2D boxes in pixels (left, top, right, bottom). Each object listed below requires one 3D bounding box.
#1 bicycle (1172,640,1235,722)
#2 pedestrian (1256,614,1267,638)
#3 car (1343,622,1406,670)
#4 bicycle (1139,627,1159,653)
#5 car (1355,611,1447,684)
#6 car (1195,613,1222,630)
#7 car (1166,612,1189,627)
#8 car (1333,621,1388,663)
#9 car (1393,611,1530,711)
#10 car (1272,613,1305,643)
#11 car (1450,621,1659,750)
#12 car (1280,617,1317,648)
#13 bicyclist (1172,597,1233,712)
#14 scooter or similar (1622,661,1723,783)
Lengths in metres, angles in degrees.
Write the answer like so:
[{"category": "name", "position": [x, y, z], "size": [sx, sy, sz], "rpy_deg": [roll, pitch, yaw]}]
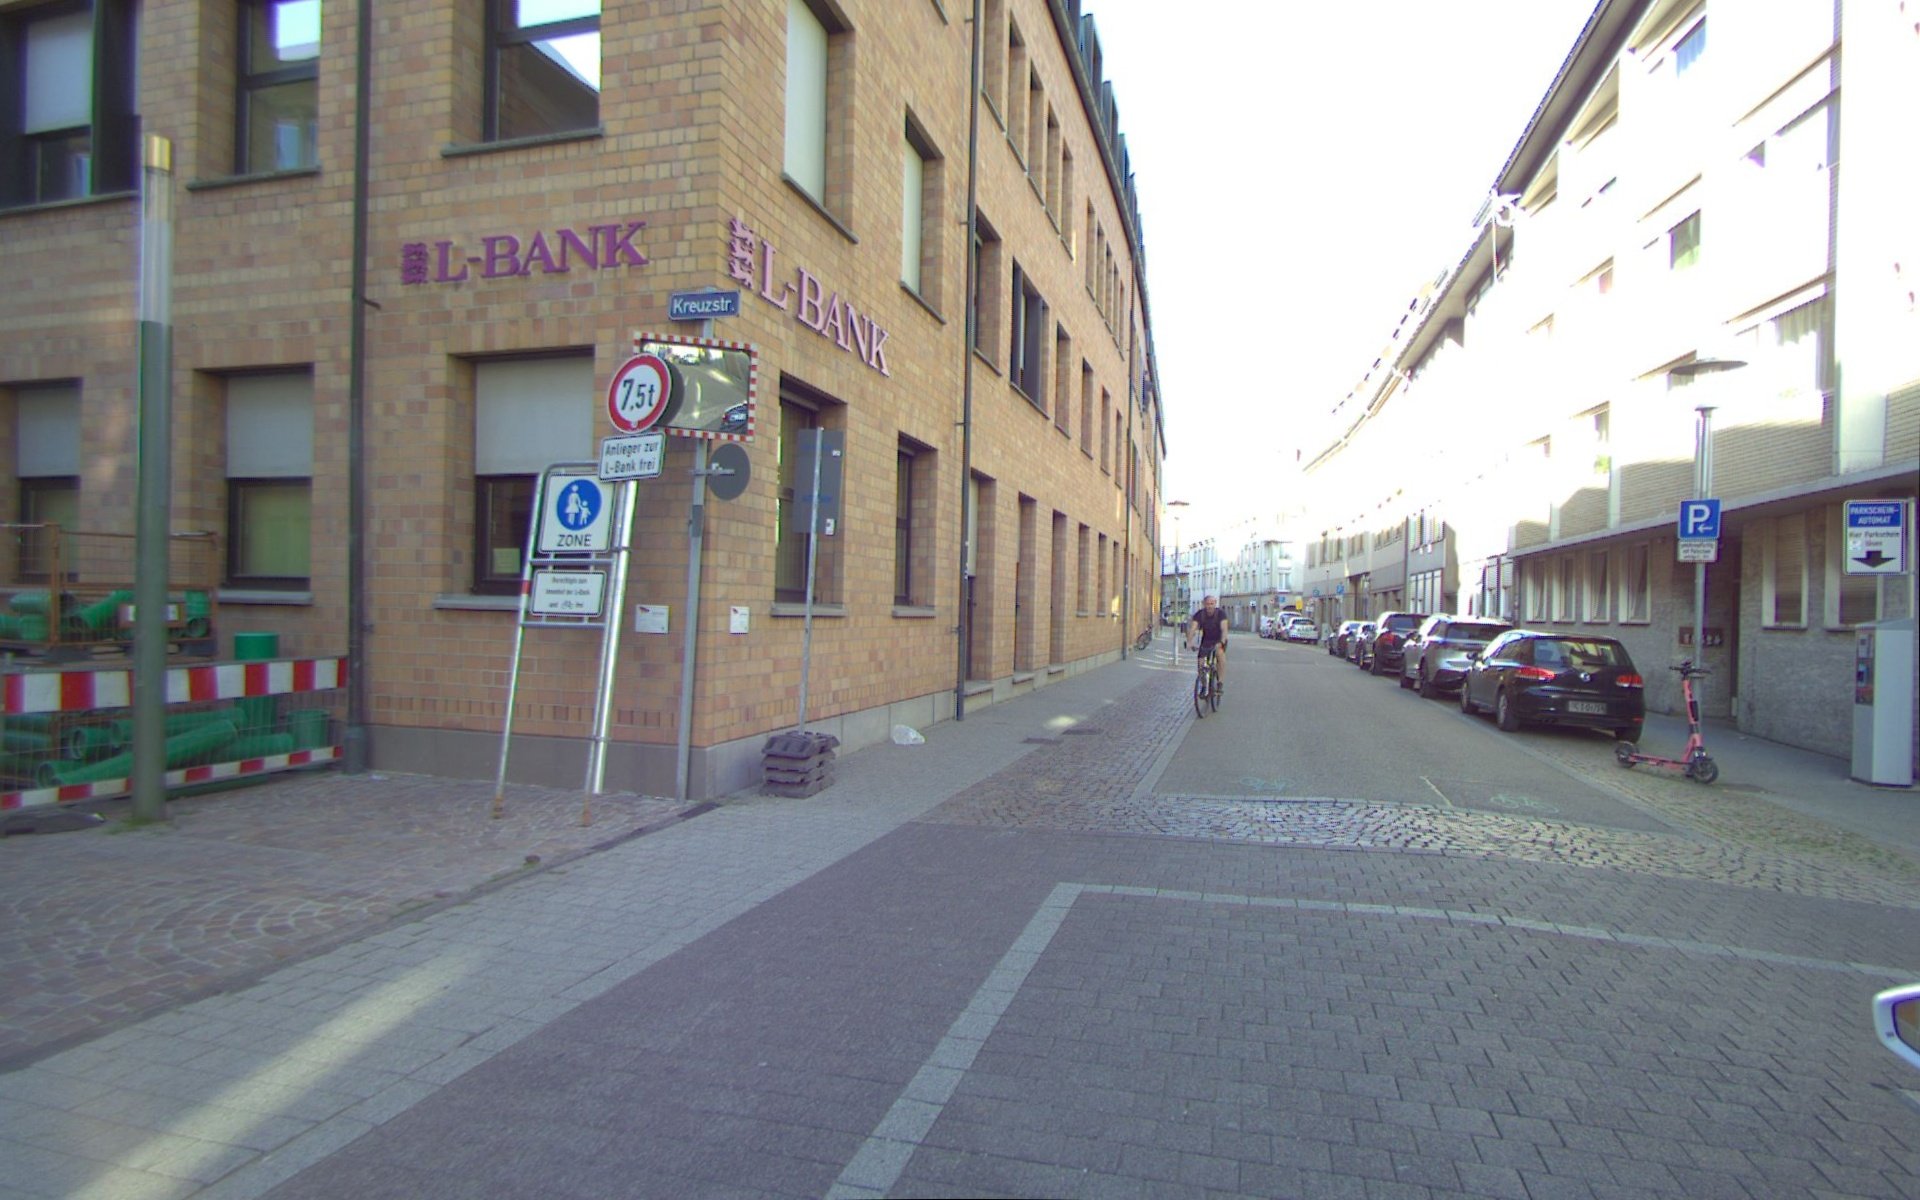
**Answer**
[{"category": "bicycle", "position": [3.722, 1.196, 15.255], "size": [0.691, 1.118, 1.827], "rpy_deg": [-2, -1, 20]}, {"category": "pedestrian", "position": [20.197, 1.735, 67.246], "size": [0.560, 1.499, 0.474], "rpy_deg": [4, 0, 9]}, {"category": "car", "position": [14.037, 1.517, 34.170], "size": [1.490, 1.409, 3.627], "rpy_deg": [4, 0, 16]}, {"category": "bicycle", "position": [7.404, 1.547, 39.309], "size": [0.630, 0.893, 2.558], "rpy_deg": [3, 0, 13]}, {"category": "car", "position": [11.927, 1.236, 27.385], "size": [1.640, 1.727, 4.014], "rpy_deg": [4, 0, 16]}, {"category": "car", "position": [25.274, 2.172, 102.154], "size": [1.897, 1.673, 3.838], "rpy_deg": [2, 0, 2]}, {"category": "car", "position": [25.660, 2.285, 118.475], "size": [1.897, 1.673, 3.838], "rpy_deg": [3, 0, 2]}, {"category": "car", "position": [15.416, 1.582, 38.799], "size": [1.490, 1.409, 3.627], "rpy_deg": [4, 0, 16]}, {"category": "car", "position": [10.010, 1.145, 20.349], "size": [1.640, 1.683, 4.083], "rpy_deg": [4, 0, 16]}, {"category": "car", "position": [21.417, 1.804, 65.589], "size": [1.659, 1.799, 3.658], "rpy_deg": [4, 0, 14]}, {"category": "car", "position": [8.778, 1.167, 15.194], "size": [1.706, 1.506, 3.813], "rpy_deg": [4, 1, 16]}, {"category": "car", "position": [20.148, 1.906, 59.890], "size": [1.659, 1.701, 3.509], "rpy_deg": [4, 0, 14]}, {"category": "bicyclist", "position": [3.693, 0.807, 15.241], "size": [0.758, 1.677, 0.957], "rpy_deg": [-1, -1, 21]}, {"category": "scooter or similar", "position": [7.593, 1.279, 10.735], "size": [0.205, 1.199, 0.877], "rpy_deg": [2, 0, -23]}]
